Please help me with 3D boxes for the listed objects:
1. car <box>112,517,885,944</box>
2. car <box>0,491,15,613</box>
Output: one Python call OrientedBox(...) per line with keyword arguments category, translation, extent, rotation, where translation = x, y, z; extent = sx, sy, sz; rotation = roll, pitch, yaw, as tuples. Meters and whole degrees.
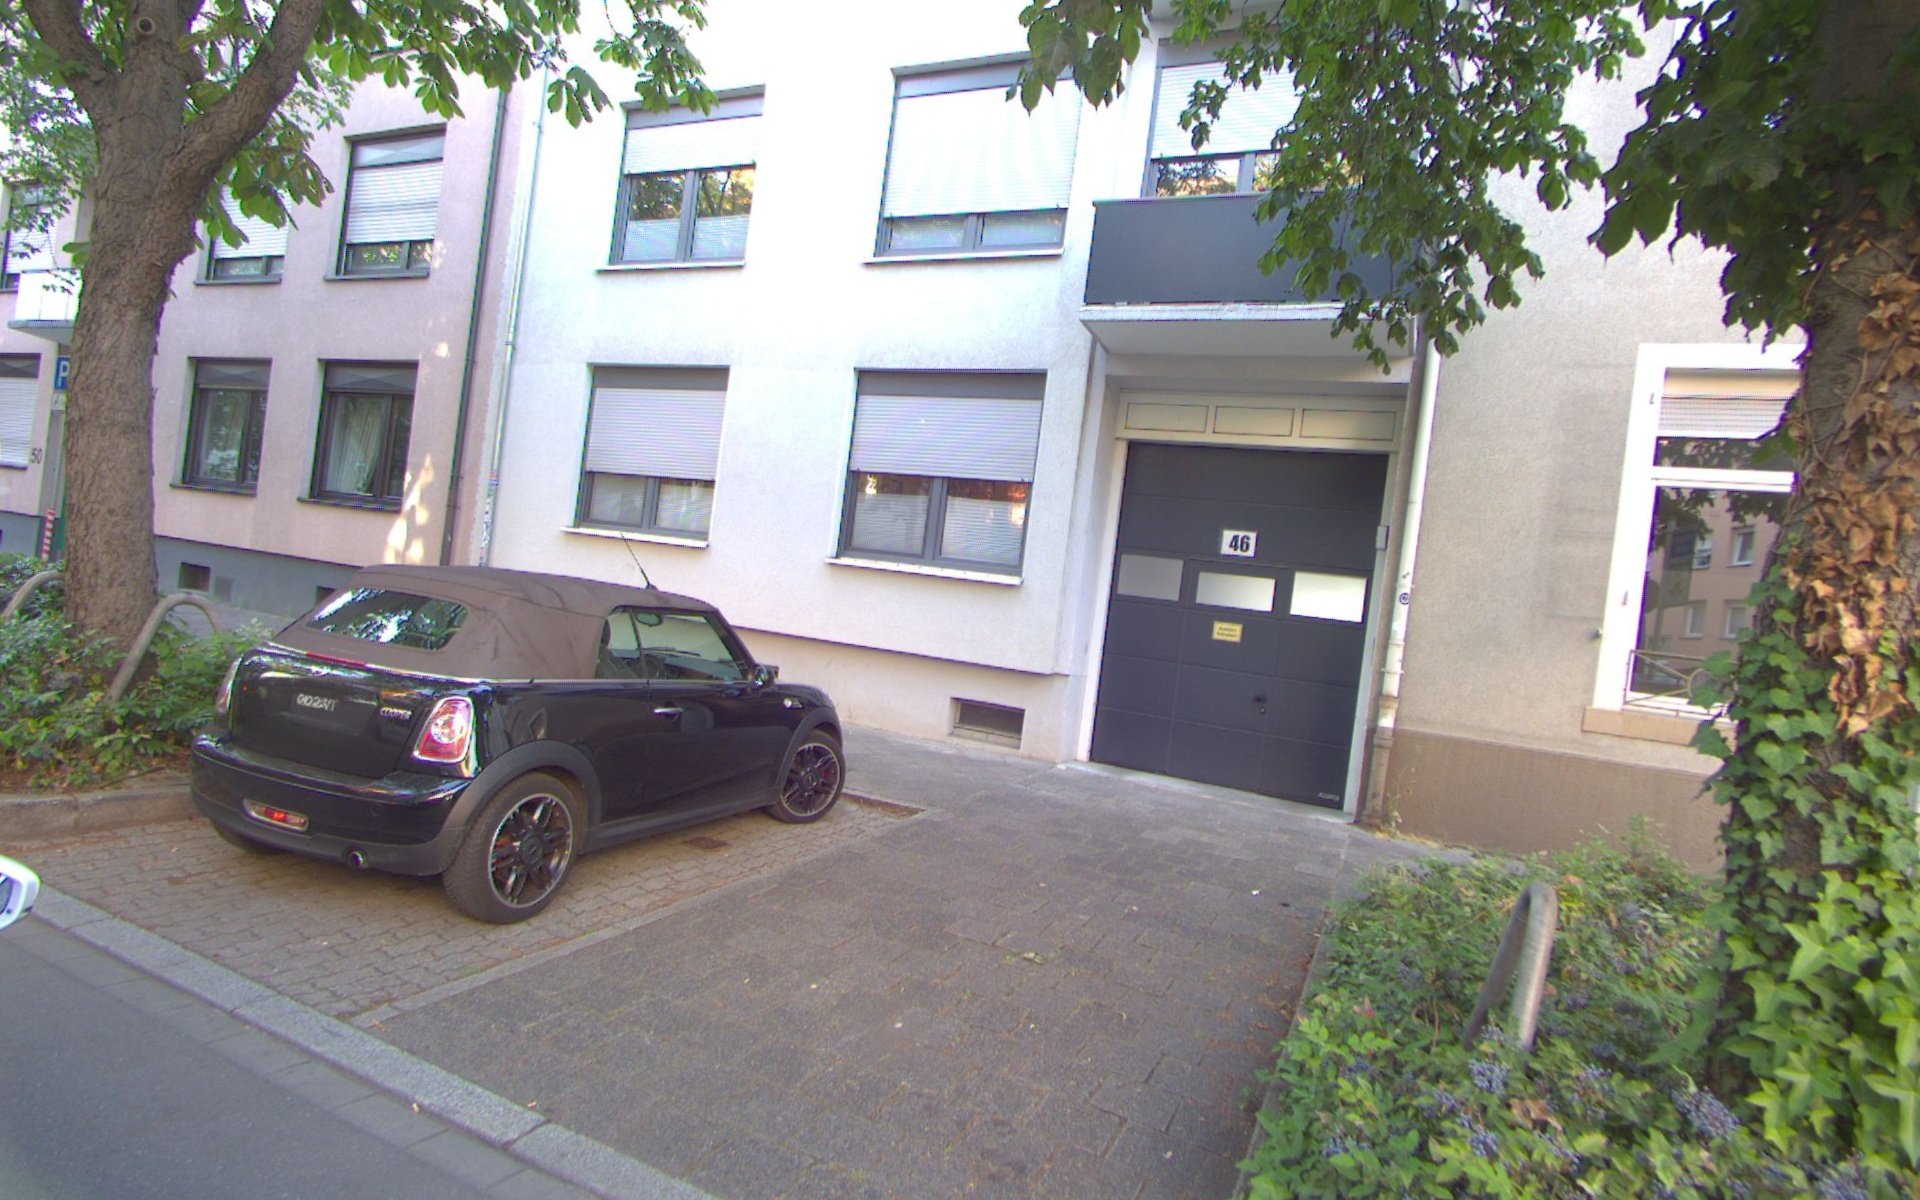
OrientedBox(category="car", translation=(-2.014, 0.550, 5.532), extent=(1.634, 1.380, 3.622), rotation=(7, -1, 22))
OrientedBox(category="car", translation=(-13.343, -0.803, 11.047), extent=(1.634, 1.494, 3.921), rotation=(7, -1, 24))
